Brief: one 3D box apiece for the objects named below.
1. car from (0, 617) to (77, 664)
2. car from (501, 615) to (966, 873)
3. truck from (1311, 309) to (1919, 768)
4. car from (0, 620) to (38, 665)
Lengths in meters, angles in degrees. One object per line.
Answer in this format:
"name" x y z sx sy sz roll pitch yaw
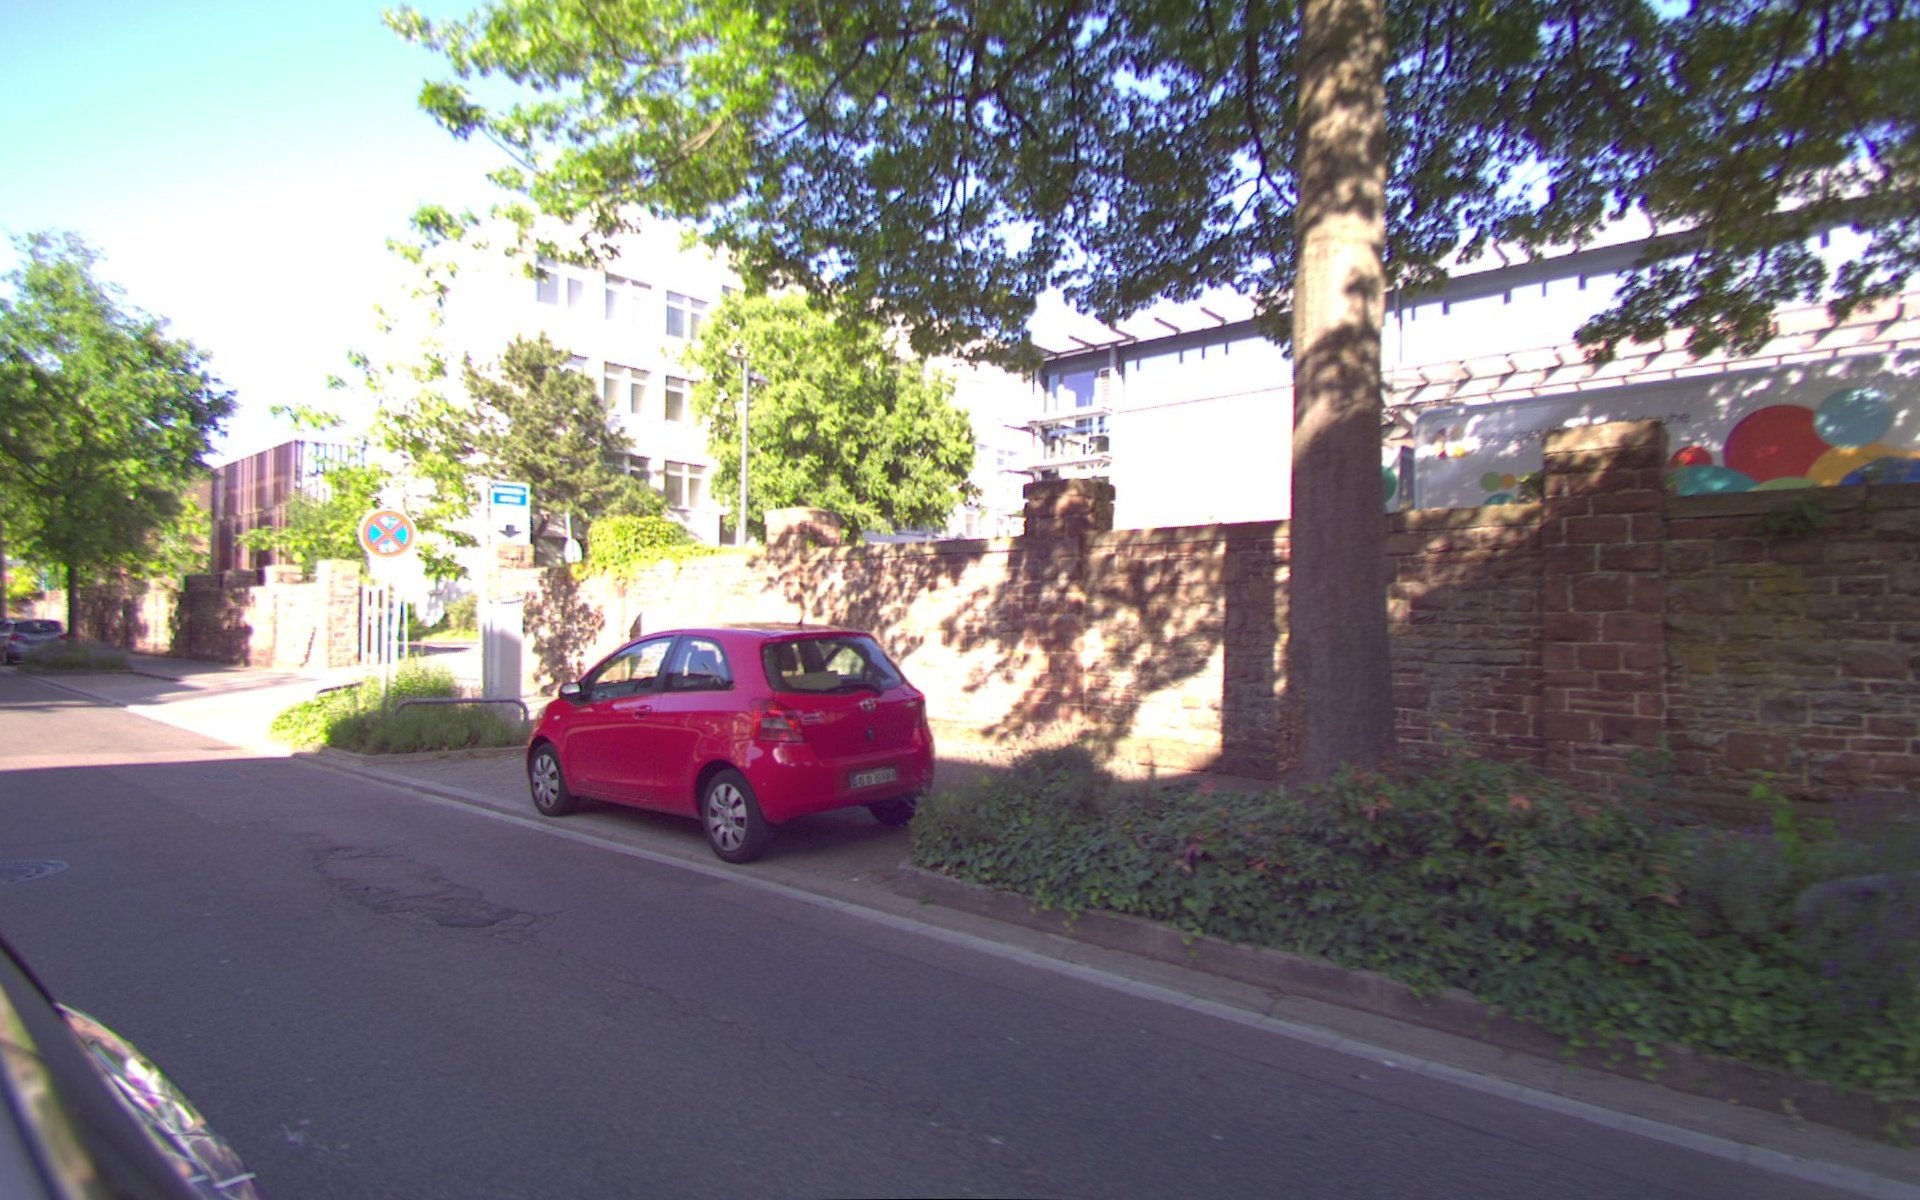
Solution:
"car" -30.712 1.290 33.356 3.832 1.432 1.671 -1 0 37
"car" -1.879 0.870 7.741 3.706 1.470 1.592 -1 0 41
"truck" 7.703 -0.503 10.145 7.423 3.739 2.704 -1 0 41
"car" -34.605 1.495 36.456 4.041 1.526 1.557 -1 -1 40
